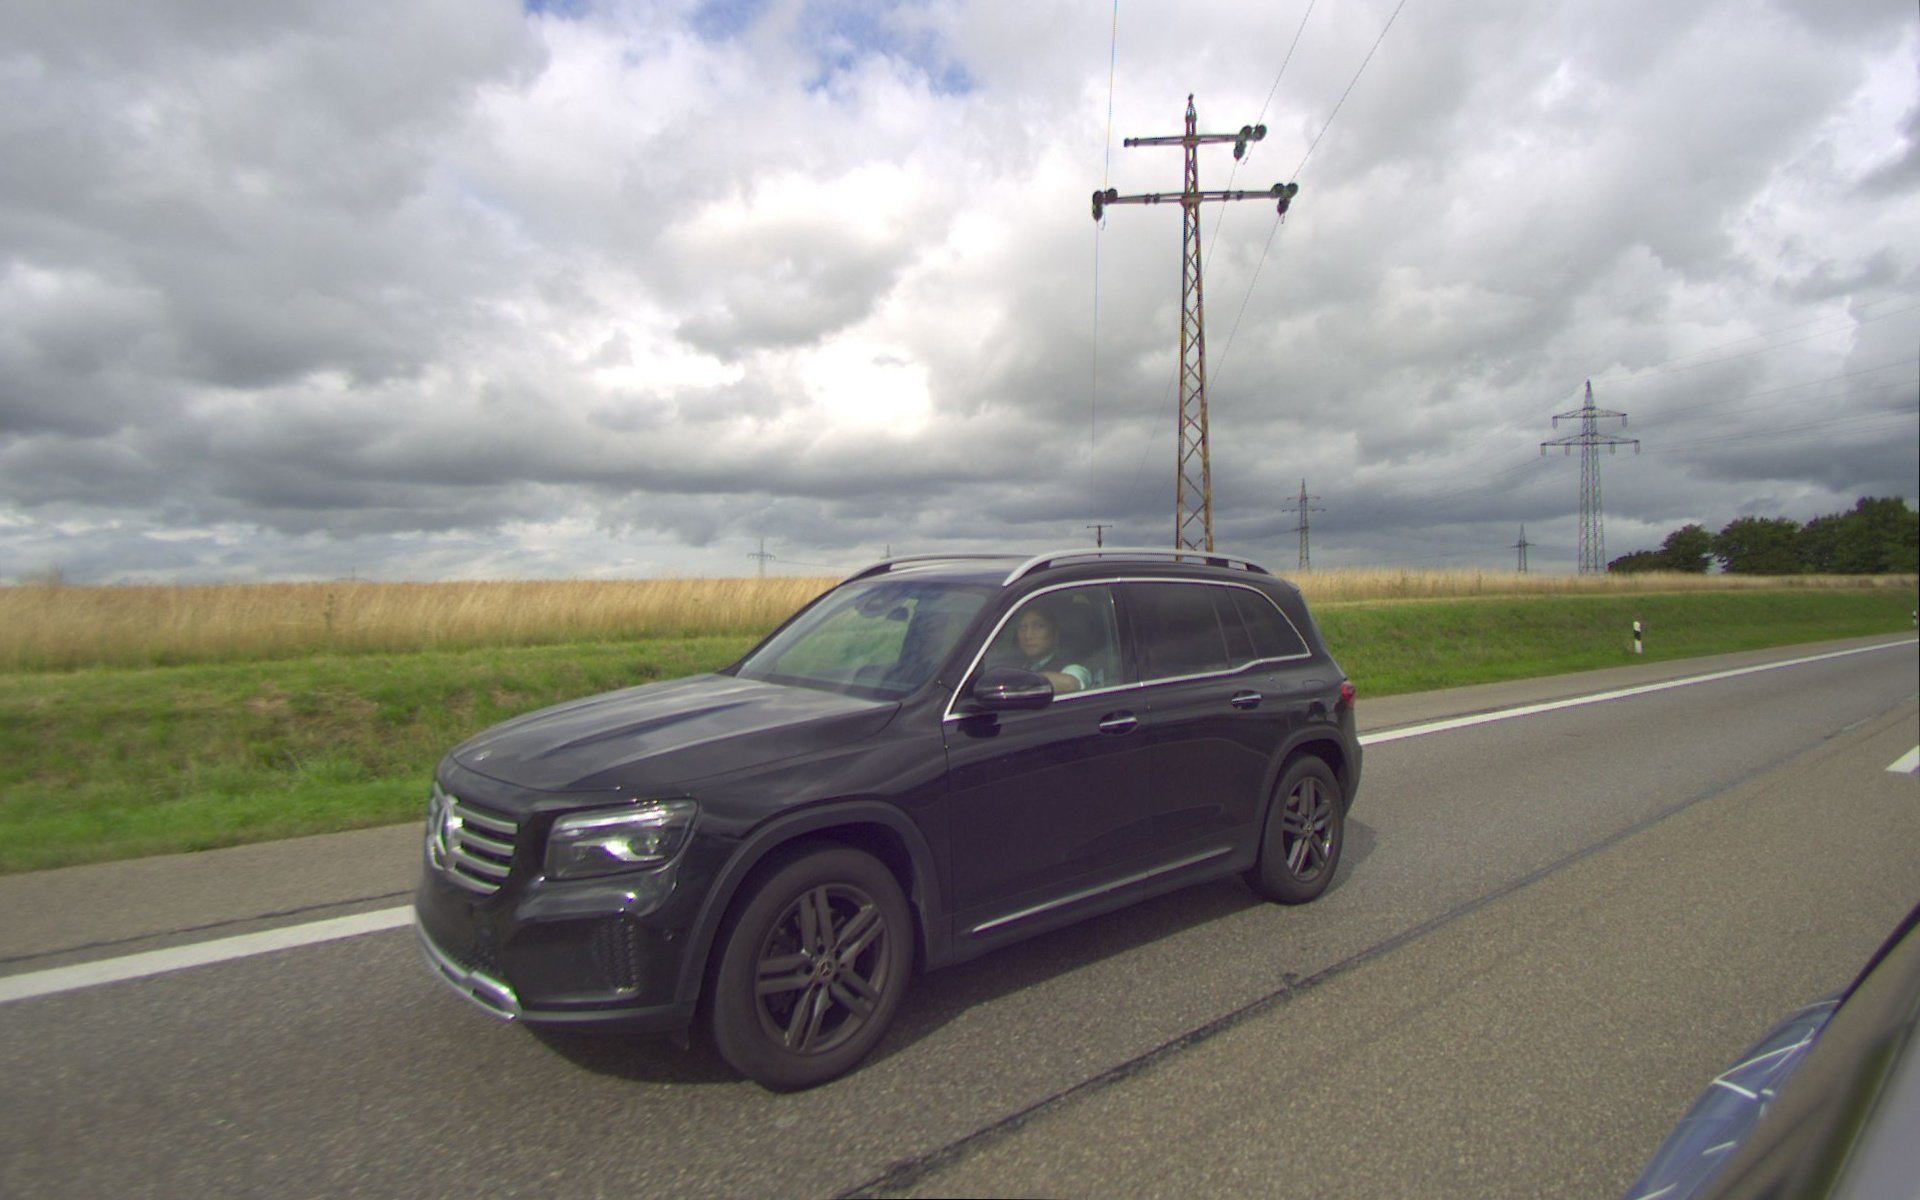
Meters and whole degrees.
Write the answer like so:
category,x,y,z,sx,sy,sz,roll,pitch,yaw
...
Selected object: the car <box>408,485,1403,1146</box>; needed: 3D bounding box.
category,x,y,z,sx,sy,sz,roll,pitch,yaw
car,0.082,0.498,4.588,4.283,1.629,1.837,-1,1,-40
